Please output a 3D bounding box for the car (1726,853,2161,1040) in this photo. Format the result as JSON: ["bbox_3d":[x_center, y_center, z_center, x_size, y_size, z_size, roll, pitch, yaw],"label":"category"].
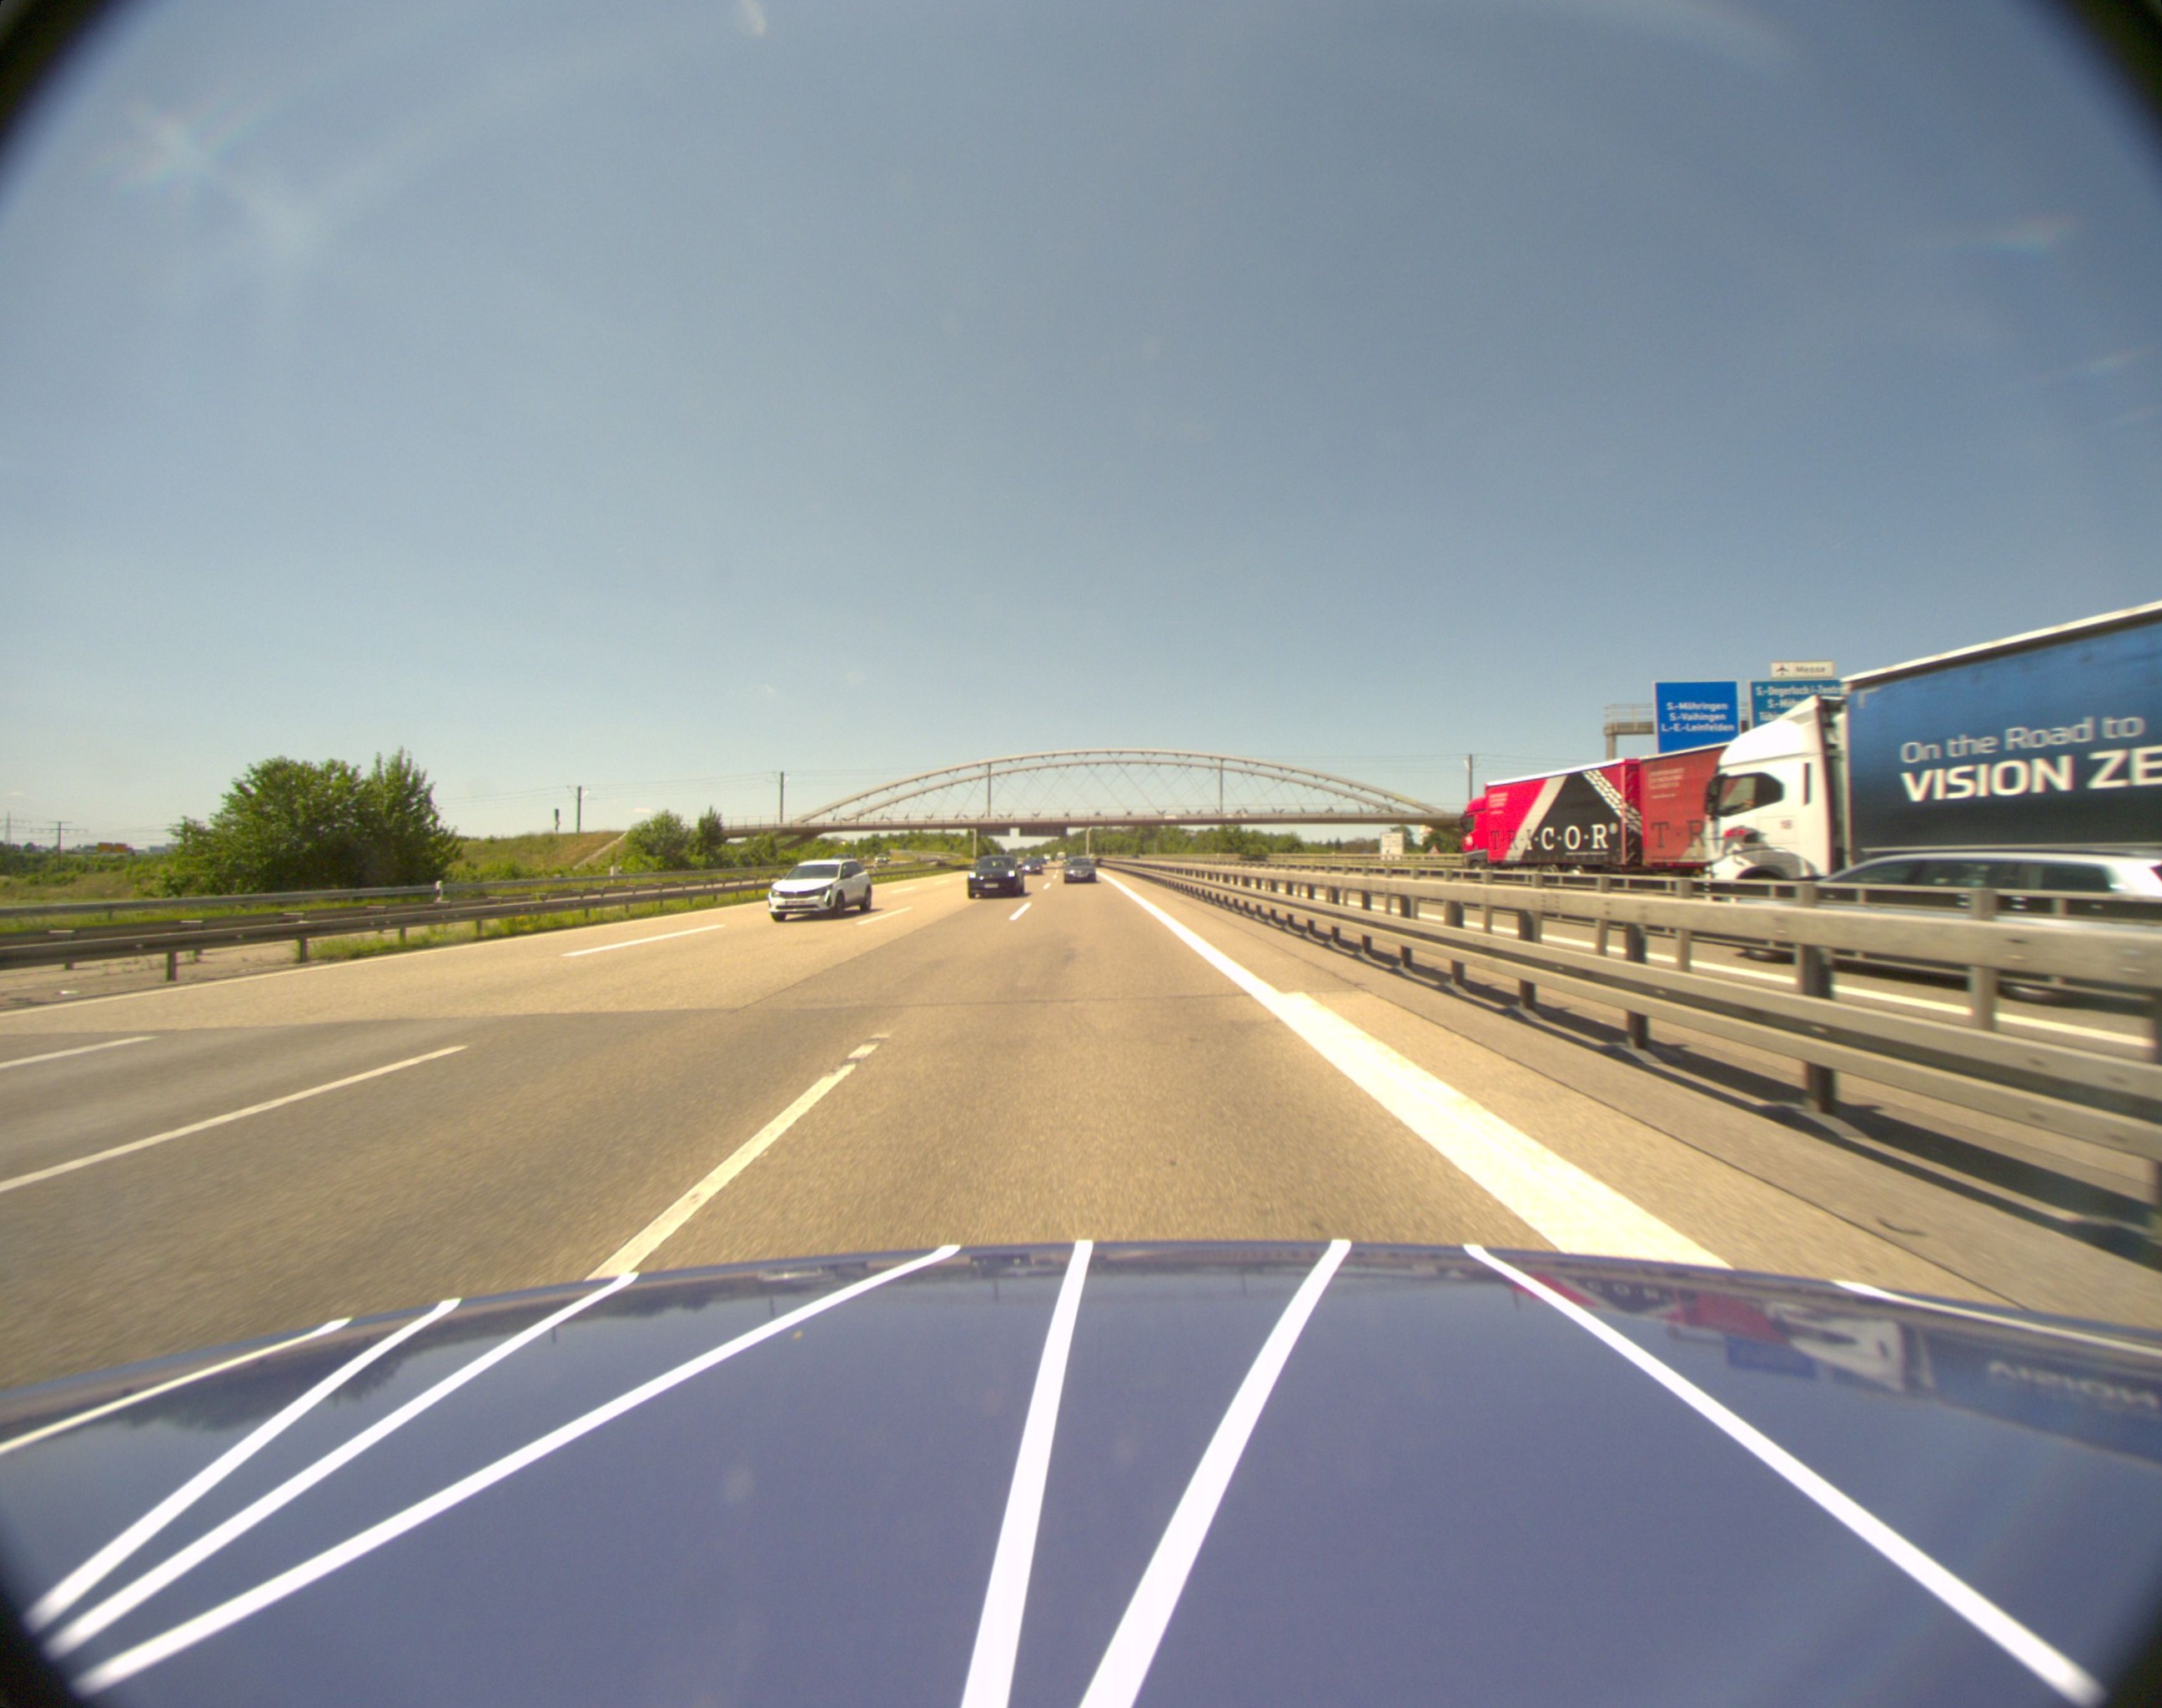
[{"bbox_3d":[9.630,0.739,7.968,1.872,1.455,4.638,-1,0,2],"label":"car"}]

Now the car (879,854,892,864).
[{"bbox_3d":[-32.491,0.747,126.378,1.705,1.566,4.123,-2,1,-12],"label":"car"}]

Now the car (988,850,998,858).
[{"bbox_3d":[-22.512,0.059,193.867,1.998,2.002,4.000,-1,1,2],"label":"car"}]

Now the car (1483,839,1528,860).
[{"bbox_3d":[37.111,-0.384,66.526,1.873,1.734,4.000,-1,1,2],"label":"car"}]

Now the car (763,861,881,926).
[{"bbox_3d":[-7.378,1.044,22.172,1.748,1.582,4.619,-1,1,1],"label":"car"}]

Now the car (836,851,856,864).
[{"bbox_3d":[-27.914,0.395,90.405,1.705,1.566,4.124,-2,1,-9],"label":"car"}]

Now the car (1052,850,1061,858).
[{"bbox_3d":[-6.017,-0.007,189.076,1.998,1.849,4.000,-1,1,1],"label":"car"}]

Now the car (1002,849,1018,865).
[{"bbox_3d":[-8.739,0.385,93.520,1.809,1.908,4.293,-2,1,-4],"label":"car"}]

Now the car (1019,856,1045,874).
[{"bbox_3d":[-4.120,0.944,64.734,1.931,1.390,4.117,-1,1,0],"label":"car"}]

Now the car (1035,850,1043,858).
[{"bbox_3d":[-11.715,0.035,211.961,1.998,2.002,4.000,-1,1,2],"label":"car"}]

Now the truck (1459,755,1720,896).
[{"bbox_3d":[17.560,-0.855,27.579,2.588,4.091,10.347,-1,0,1],"label":"truck"}]

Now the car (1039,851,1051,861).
[{"bbox_3d":[-6.611,0.288,138.986,1.925,1.761,3.999,-2,1,-1],"label":"car"}]

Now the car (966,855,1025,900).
[{"bbox_3d":[-3.313,0.855,30.195,1.932,1.586,4.131,-2,1,-1],"label":"car"}]

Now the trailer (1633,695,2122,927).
[{"bbox_3d":[17.427,-0.798,17.961,2.565,4.081,8.715,-1,1,1],"label":"trailer"}]

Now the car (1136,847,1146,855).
[{"bbox_3d":[11.372,-0.595,144.557,1.662,1.455,4.444,-2,1,1],"label":"car"}]

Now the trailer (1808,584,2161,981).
[{"bbox_3d":[13.210,-0.782,4.980,2.953,4.317,14.618,-1,1,0],"label":"trailer"}]

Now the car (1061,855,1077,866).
[{"bbox_3d":[-1.617,0.845,103.029,1.932,1.390,4.116,-2,1,-3],"label":"car"}]

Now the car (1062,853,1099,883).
[{"bbox_3d":[0.002,0.754,43.061,1.931,1.499,4.391,-1,1,2],"label":"car"}]

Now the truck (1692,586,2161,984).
[{"bbox_3d":[13.255,-0.804,11.196,2.935,4.319,6.915,-1,1,0],"label":"truck"}]

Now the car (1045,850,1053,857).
[{"bbox_3d":[-9.432,-0.187,221.822,1.998,2.002,4.000,-1,1,2],"label":"car"}]
